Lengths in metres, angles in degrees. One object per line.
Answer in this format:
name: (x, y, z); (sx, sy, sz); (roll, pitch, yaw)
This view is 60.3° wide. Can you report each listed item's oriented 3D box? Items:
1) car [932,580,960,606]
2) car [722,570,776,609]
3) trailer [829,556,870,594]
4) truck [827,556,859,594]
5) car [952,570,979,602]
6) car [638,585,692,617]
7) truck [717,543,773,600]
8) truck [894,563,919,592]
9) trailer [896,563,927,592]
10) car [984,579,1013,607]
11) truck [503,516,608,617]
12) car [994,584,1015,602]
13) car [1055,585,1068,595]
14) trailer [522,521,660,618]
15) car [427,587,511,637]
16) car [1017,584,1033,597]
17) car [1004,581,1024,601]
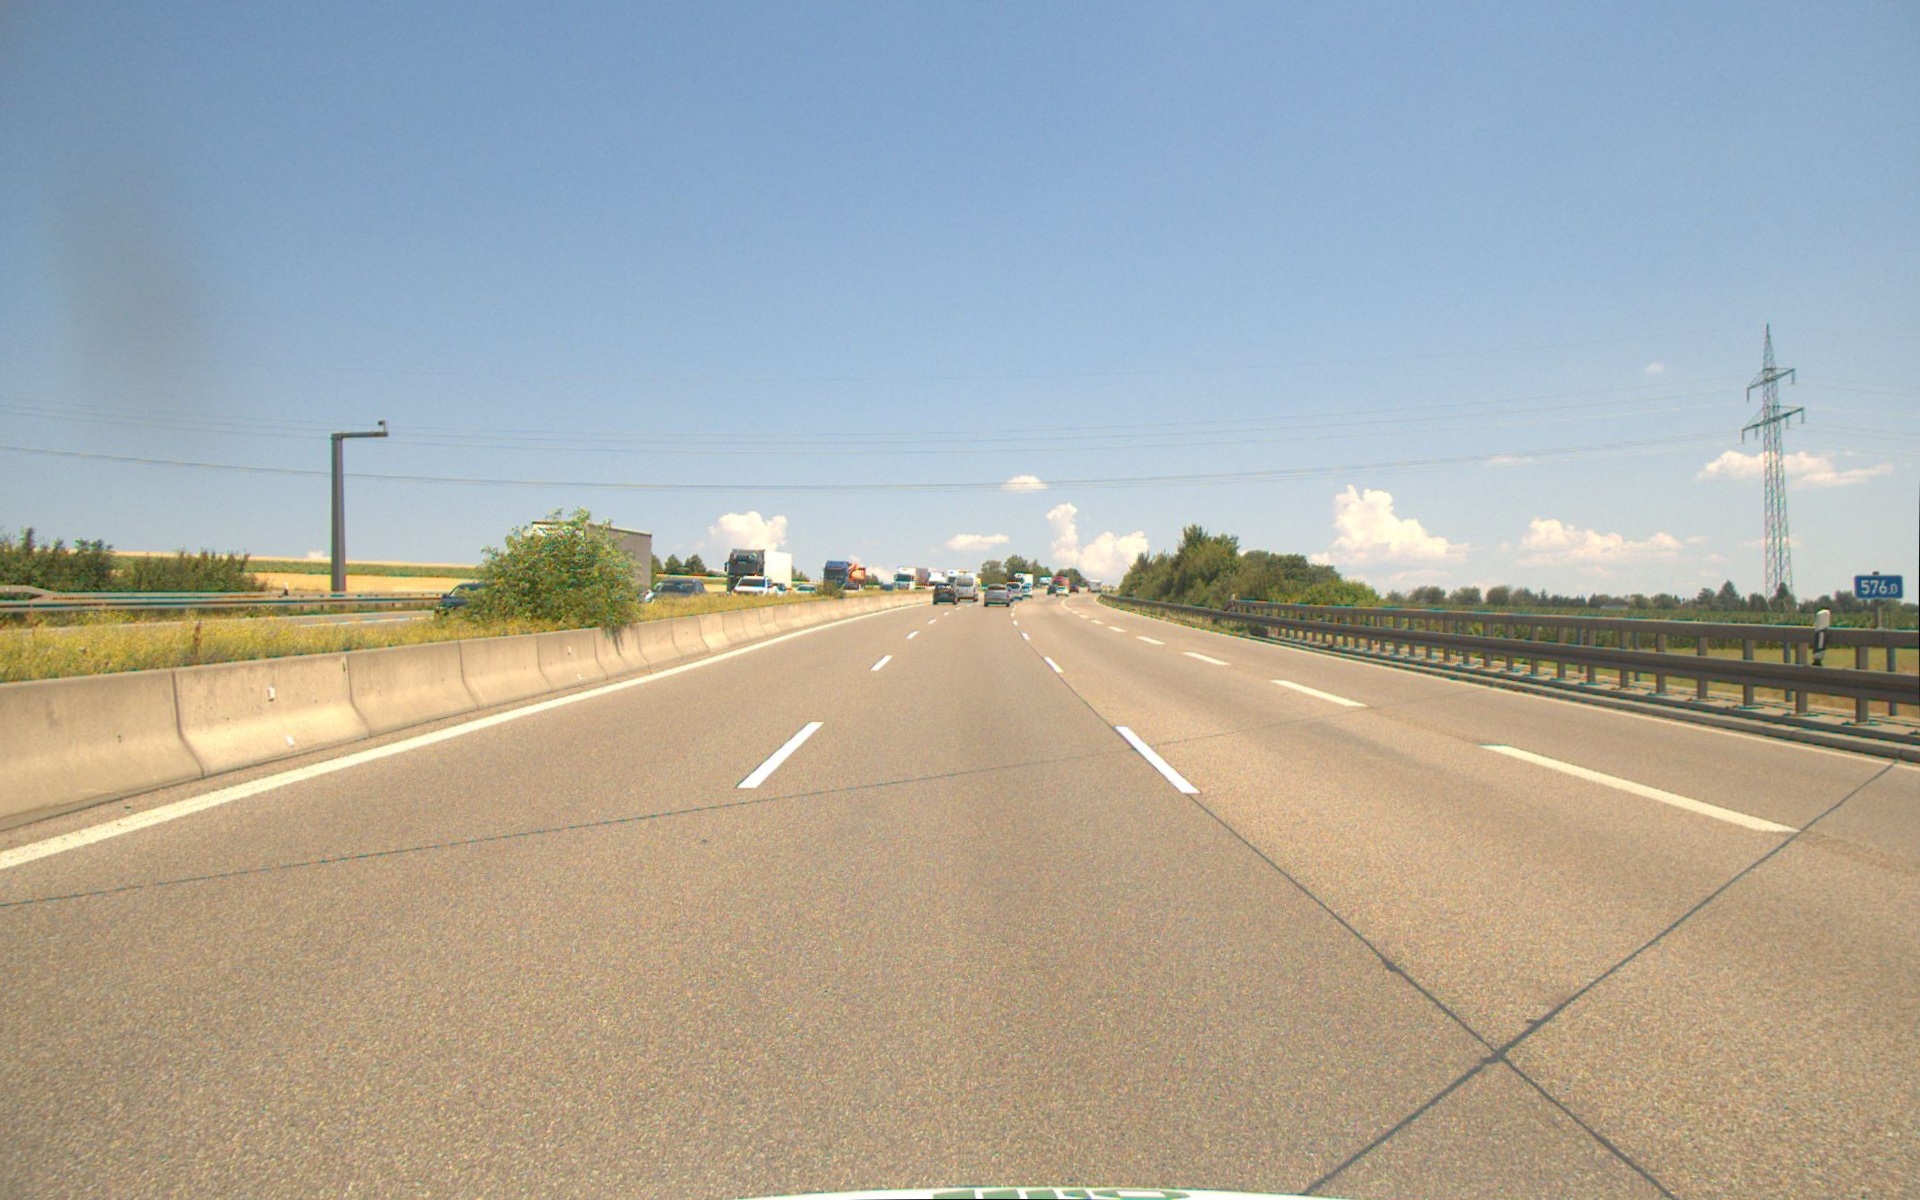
car: (-1.052, -0.569, 126.131); (1.808, 1.893, 4.208); (1, 1, 4)
car: (-10.902, -0.505, 85.930); (1.952, 1.937, 5.677); (1, 0, 1)
trailer: (-12.341, -2.719, 185.800); (2.779, 4.027, 13.734); (1, 0, 4)
truck: (-12.710, -2.653, 179.479); (2.718, 4.006, 6.140); (1, 0, 3)
car: (0.518, -1.249, 151.578); (2.134, 2.671, 4.673); (1, -2, 3)
car: (-14.331, 0.032, 80.643); (1.805, 1.485, 4.491); (1, 0, 0)
truck: (-16.683, -2.184, 128.838); (3.159, 4.280, 7.128); (1, 0, 2)
truck: (-7.885, -3.267, 242.745); (2.792, 4.097, 6.519); (1, 0, 6)
trailer: (-7.252, -3.303, 249.415); (2.734, 4.177, 14.016); (1, 0, 6)
car: (2.750, -0.466, 117.971); (1.952, 1.781, 4.001); (1, -2, 3)
truck: (-18.524, -1.479, 76.174); (3.067, 4.403, 6.148); (1, 0, 2)
car: (4.260, -0.642, 158.117); (1.952, 1.613, 4.001); (0, -1, 2)
car: (14.758, -1.470, 240.708); (1.862, 1.467, 4.002); (1, 1, 4)
trailer: (-18.215, -1.415, 82.997); (3.058, 4.400, 14.548); (1, 0, 2)
car: (-14.986, 0.339, 50.651); (1.592, 1.428, 3.728); (1, 1, -3)
car: (8.251, -1.237, 209.601); (1.952, 1.579, 4.002); (2, 1, 4)
car: (5.787, -0.981, 176.749); (1.953, 1.937, 3.999); (1, -2, 0)
